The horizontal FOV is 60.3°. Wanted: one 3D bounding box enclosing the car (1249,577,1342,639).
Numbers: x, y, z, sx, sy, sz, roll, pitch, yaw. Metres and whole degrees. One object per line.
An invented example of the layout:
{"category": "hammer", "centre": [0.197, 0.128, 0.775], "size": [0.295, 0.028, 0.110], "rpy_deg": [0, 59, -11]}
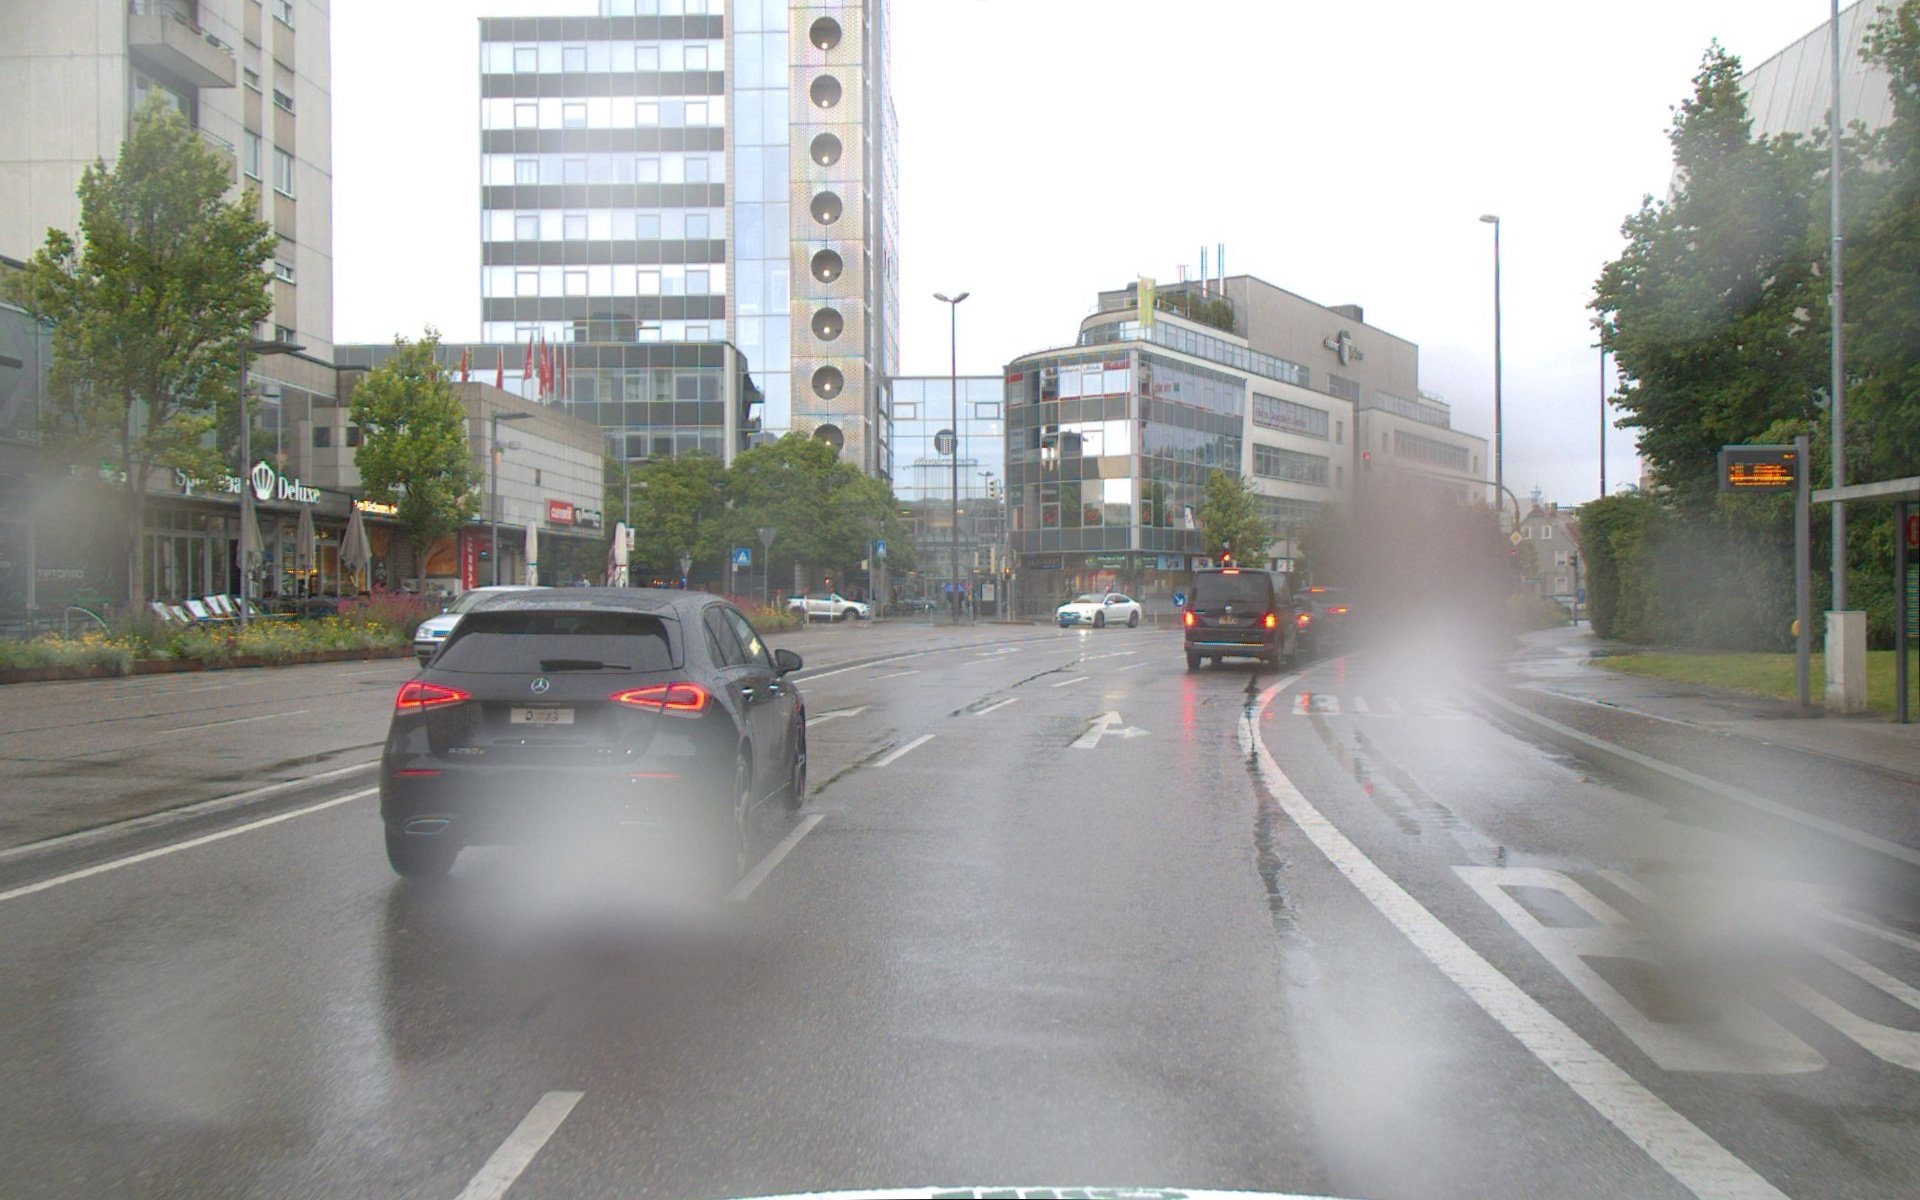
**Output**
{"category": "car", "centre": [8.275, 0.153, 40.527], "size": [1.598, 1.410, 4.516], "rpy_deg": [1, 1, 20]}

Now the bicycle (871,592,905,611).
{"category": "bicycle", "centre": [-4.765, 0.111, 109.687], "size": [2.226, 1.268, 0.676], "rpy_deg": [-1, 0, 1]}

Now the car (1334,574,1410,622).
{"category": "car", "centre": [13.310, -0.107, 53.295], "size": [1.601, 1.473, 4.266], "rpy_deg": [1, 1, 25]}

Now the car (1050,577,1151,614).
{"category": "car", "centre": [5.846, -0.198, 68.468], "size": [1.813, 1.486, 4.785], "rpy_deg": [1, 1, 39]}

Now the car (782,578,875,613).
{"category": "car", "centre": [-6.265, -0.224, 78.774], "size": [4.103, 1.623, 1.872], "rpy_deg": [0, 0, 7]}

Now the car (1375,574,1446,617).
{"category": "car", "centre": [16.056, -0.186, 58.865], "size": [1.873, 1.425, 3.456], "rpy_deg": [0, 1, 25]}

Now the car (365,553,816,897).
{"category": "car", "centre": [-1.862, 0.547, 9.508], "size": [1.778, 1.556, 3.812], "rpy_deg": [1, 1, -1]}

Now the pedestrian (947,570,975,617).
{"category": "pedestrian", "centre": [0.054, -0.272, 72.668], "size": [1.139, 2.049, 1.327], "rpy_deg": [0, 0, -5]}

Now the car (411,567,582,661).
{"category": "car", "centre": [-8.004, 0.212, 28.924], "size": [1.664, 1.492, 4.105], "rpy_deg": [-1, 0, 2]}

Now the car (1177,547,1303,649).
{"category": "car", "centre": [5.781, -0.051, 33.684], "size": [1.953, 1.927, 4.589], "rpy_deg": [0, 0, 17]}

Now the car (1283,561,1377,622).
{"category": "car", "centre": [10.515, -0.255, 46.849], "size": [1.863, 1.649, 4.334], "rpy_deg": [0, 1, 23]}

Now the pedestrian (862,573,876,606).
{"category": "pedestrian", "centre": [-5.718, -0.667, 103.745], "size": [0.746, 2.049, 0.715], "rpy_deg": [0, 0, 6]}
